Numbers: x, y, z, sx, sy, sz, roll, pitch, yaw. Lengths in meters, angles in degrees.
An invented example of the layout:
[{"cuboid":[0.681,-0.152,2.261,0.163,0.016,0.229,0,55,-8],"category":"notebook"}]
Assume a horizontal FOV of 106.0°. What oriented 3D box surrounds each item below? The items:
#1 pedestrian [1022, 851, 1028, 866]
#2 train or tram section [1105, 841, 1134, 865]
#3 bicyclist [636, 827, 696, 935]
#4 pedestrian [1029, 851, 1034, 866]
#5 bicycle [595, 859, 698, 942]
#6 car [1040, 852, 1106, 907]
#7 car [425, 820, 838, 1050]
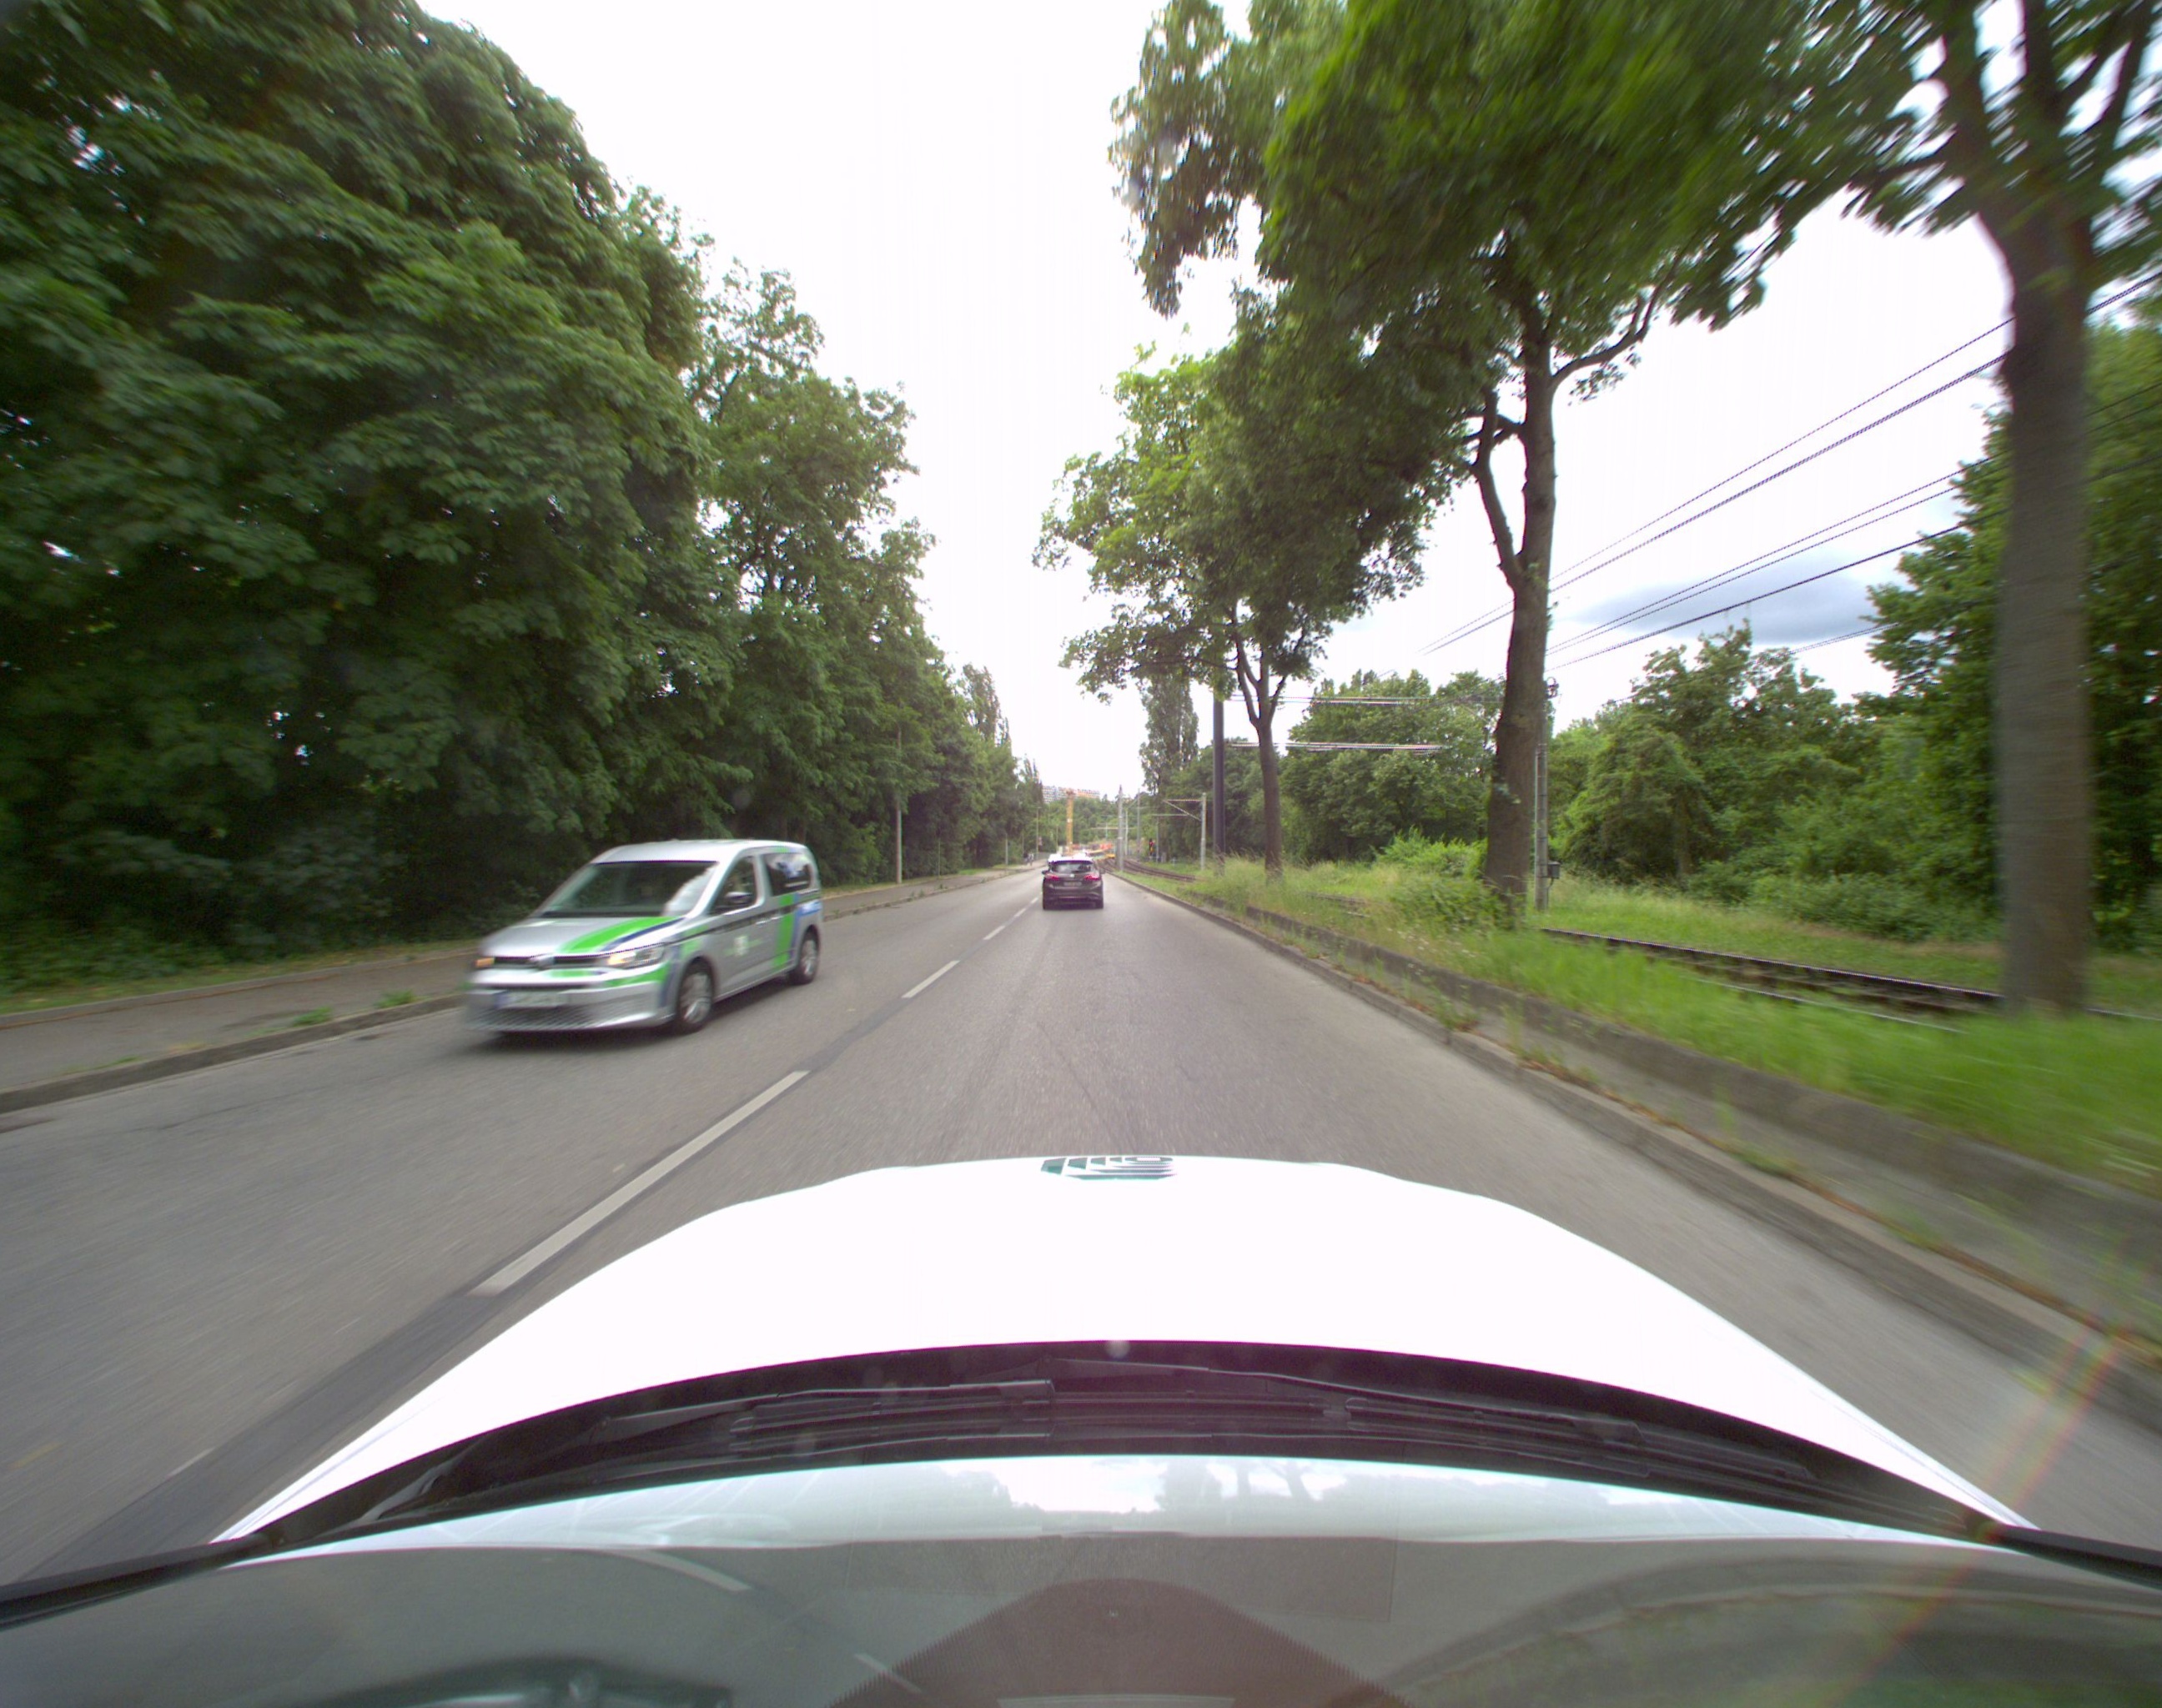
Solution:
[{"cuboid":[-6.717,0.503,98.215,0.585,1.803,0.822,1,-1,-1],"category":"pedestrian"},{"cuboid":[9.761,-0.143,211.561,3.027,5.183,22.981,2,-2,-8],"category":"train or tram section"},{"cuboid":[-7.721,0.488,15.182,0.685,1.948,0.835,1,-1,-4],"category":"bicyclist"},{"cuboid":[-5.973,0.561,98.467,0.549,1.765,0.858,3,-1,-1],"category":"pedestrian"},{"cuboid":[-7.677,0.773,14.524,0.697,1.331,2.278,1,0,-4],"category":"bicycle"},{"cuboid":[-0.296,0.732,24.822,1.825,1.510,3.996,-1,0,-2],"category":"car"},{"cuboid":[-4.292,0.642,8.817,1.850,1.799,4.557,-1,0,1],"category":"car"}]
